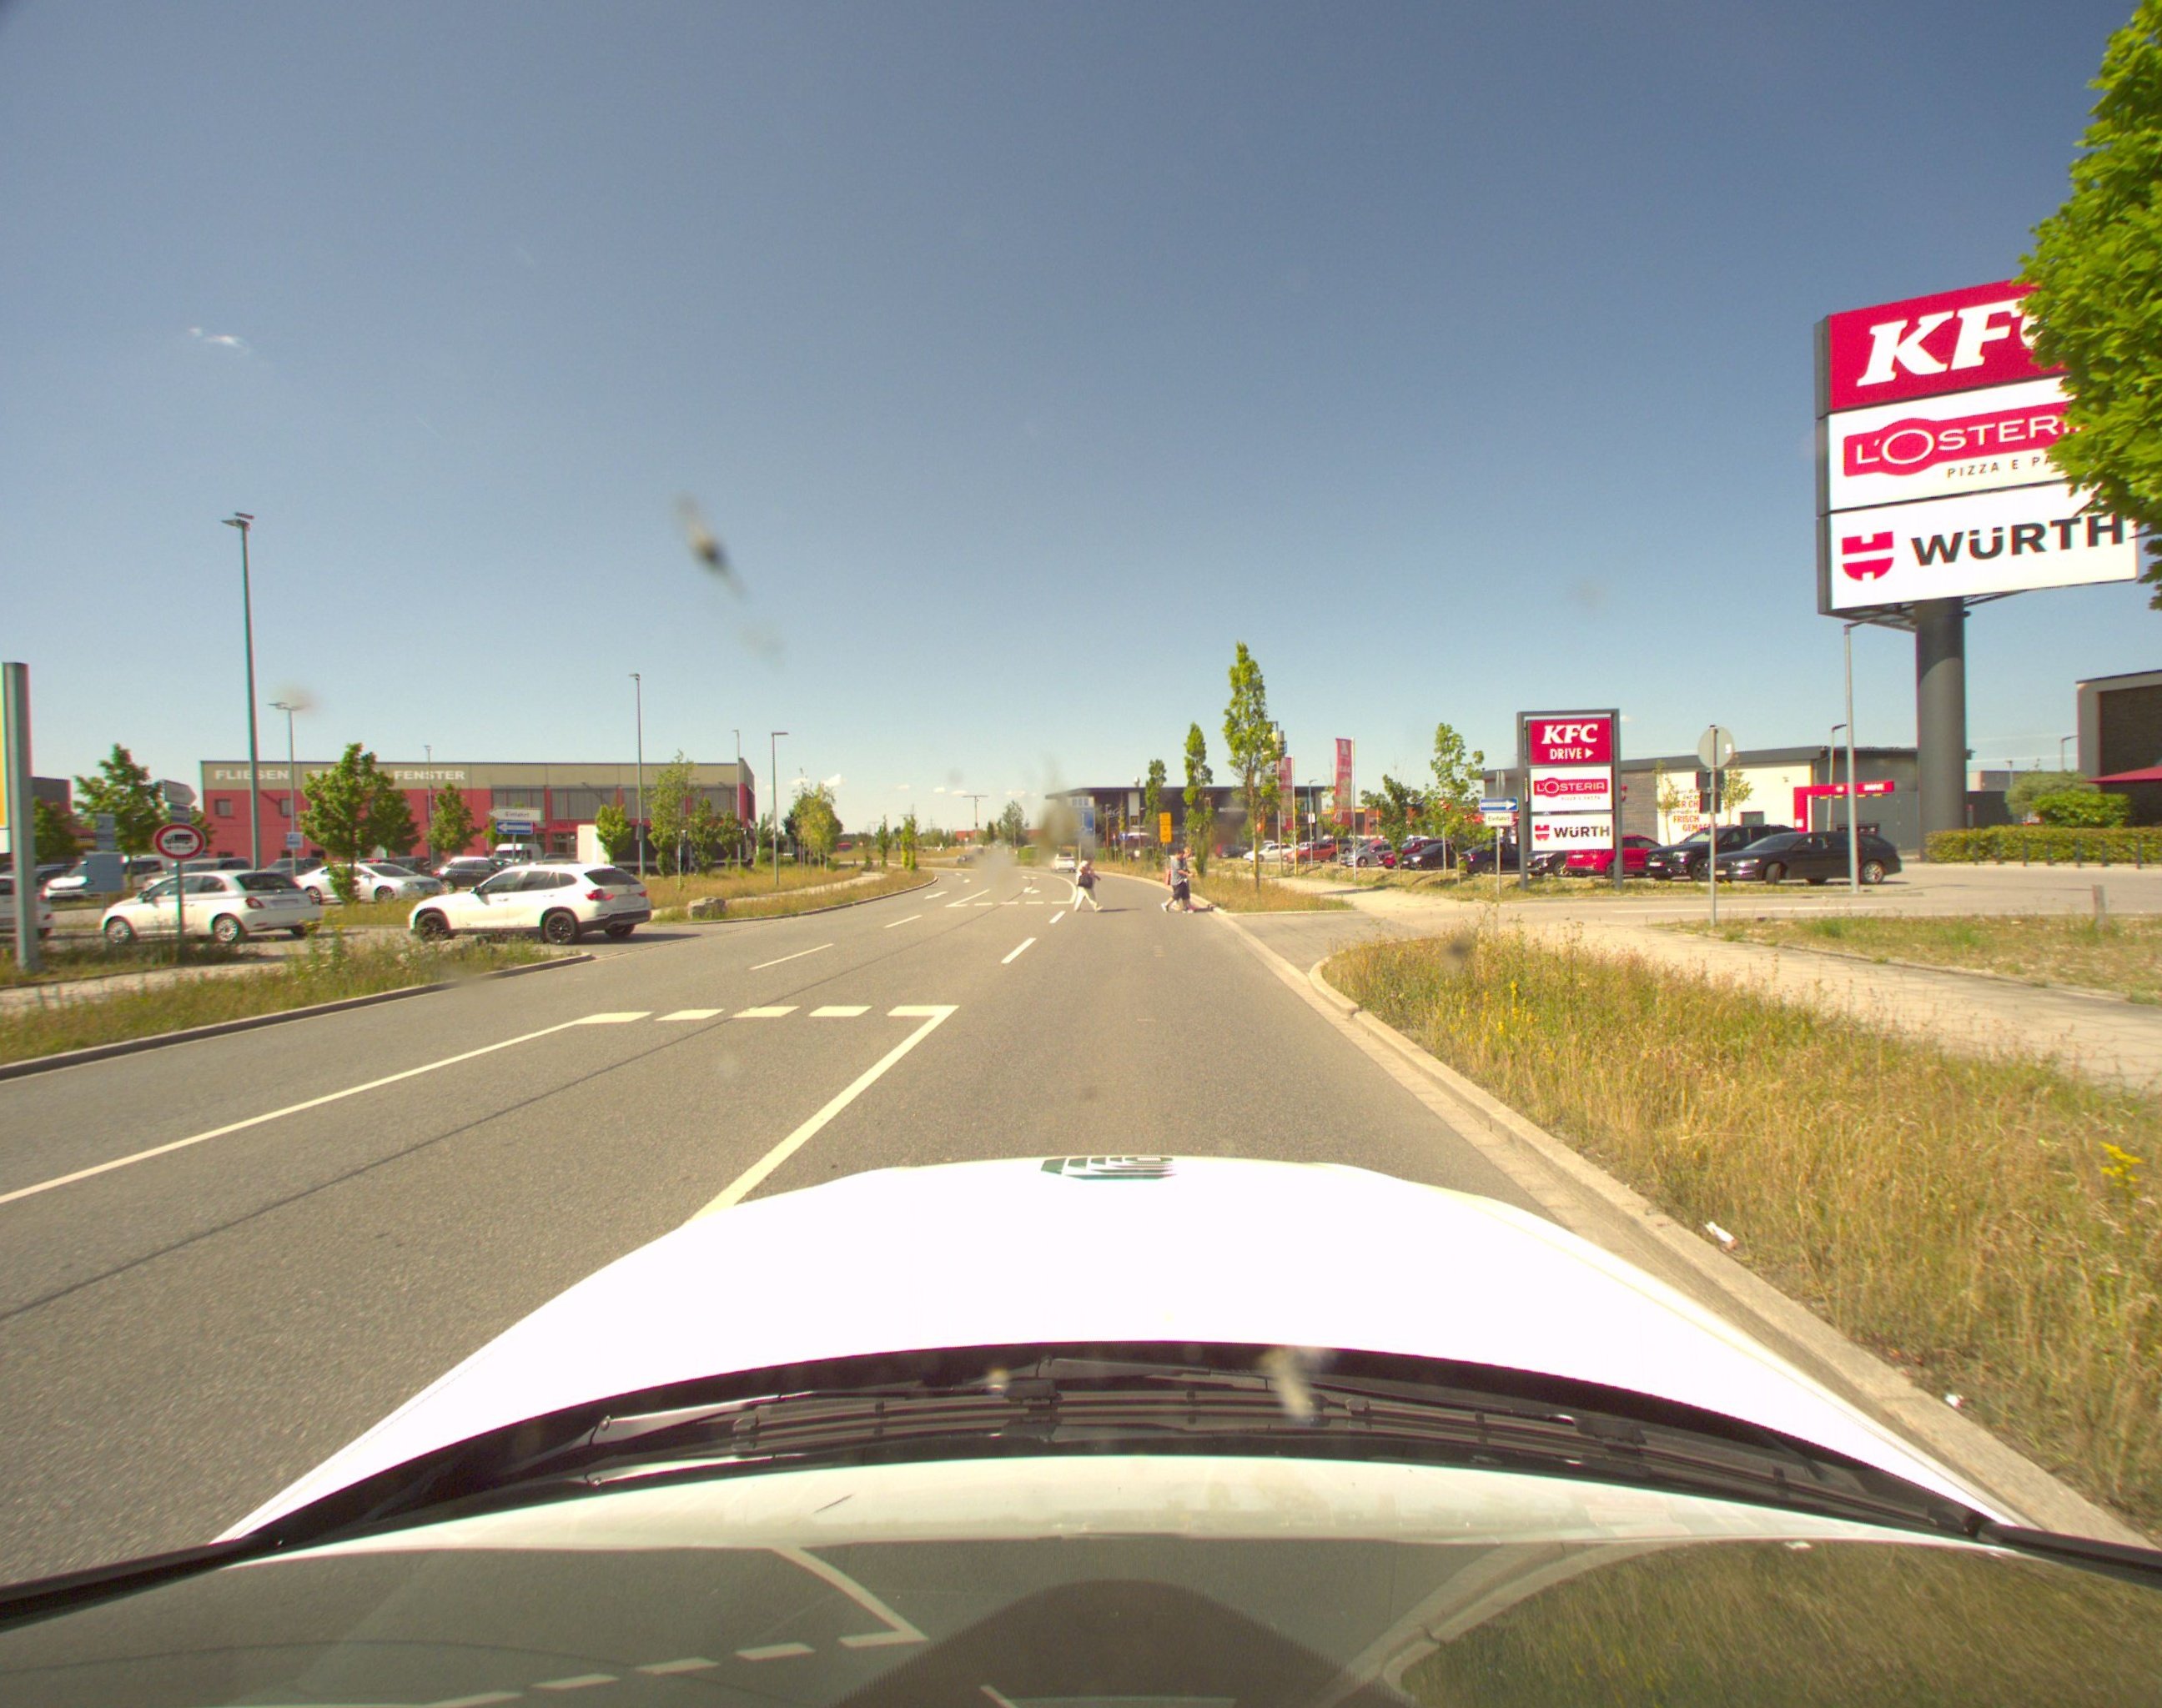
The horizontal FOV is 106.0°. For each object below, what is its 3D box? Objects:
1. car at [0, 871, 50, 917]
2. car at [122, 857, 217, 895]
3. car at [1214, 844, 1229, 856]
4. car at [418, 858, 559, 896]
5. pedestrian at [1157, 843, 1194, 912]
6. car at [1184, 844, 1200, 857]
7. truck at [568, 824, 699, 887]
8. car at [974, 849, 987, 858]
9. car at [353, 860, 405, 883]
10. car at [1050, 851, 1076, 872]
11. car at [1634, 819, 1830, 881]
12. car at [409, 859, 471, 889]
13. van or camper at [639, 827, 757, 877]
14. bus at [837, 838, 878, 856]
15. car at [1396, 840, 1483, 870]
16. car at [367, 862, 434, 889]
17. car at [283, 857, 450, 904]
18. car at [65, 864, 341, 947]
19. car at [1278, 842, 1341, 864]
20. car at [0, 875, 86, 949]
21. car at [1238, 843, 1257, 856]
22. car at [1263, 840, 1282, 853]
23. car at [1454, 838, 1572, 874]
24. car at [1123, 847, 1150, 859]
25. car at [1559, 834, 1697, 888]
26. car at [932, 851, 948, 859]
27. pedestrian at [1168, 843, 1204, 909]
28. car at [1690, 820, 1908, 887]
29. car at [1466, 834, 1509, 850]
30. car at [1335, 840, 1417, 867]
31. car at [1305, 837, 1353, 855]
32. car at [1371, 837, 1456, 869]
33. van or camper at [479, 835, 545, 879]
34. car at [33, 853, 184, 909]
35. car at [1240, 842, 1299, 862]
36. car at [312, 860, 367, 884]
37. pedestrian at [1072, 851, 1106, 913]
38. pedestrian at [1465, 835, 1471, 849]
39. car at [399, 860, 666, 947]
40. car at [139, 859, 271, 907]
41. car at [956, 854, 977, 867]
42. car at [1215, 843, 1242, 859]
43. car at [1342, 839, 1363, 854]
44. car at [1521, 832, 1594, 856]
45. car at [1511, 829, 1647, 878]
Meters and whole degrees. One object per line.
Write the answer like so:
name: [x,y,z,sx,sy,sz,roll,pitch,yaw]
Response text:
car: [-37.419,1.392,27.020,1.837,1.512,4.355,-2,0,-18]
car: [-52.559,1.219,47.090,1.839,1.994,4.351,-2,0,-21]
car: [18.116,-0.507,104.692,1.781,1.434,4.012,-2,0,11]
car: [-25.443,0.959,35.083,4.568,1.458,1.835,-2,0,-5]
pedestrian: [2.283,0.549,19.750,0.806,1.628,0.866,-1,0,1]
car: [14.193,-0.485,103.999,1.781,1.604,4.012,-2,0,11]
truck: [-26.640,0.067,48.989,2.300,3.464,7.523,-1,0,14]
car: [-18.032,-0.085,145.830,1.993,1.440,3.987,-2,1,-9]
car: [-52.353,1.258,60.825,1.667,1.614,4.054,-2,0,-22]
car: [-1.343,0.539,59.821,1.614,1.434,3.784,-2,0,-6]
car: [21.081,-0.151,26.481,4.972,1.734,1.937,-3,1,-4]
car: [-40.553,1.240,51.629,1.839,1.773,4.351,-2,0,-21]
van or camper: [-28.979,-0.180,61.967,7.705,3.468,2.543,-2,0,-15]
bus: [-45.800,-1.521,167.351,2.769,3.078,12.244,-2,2,11]
car: [19.770,0.041,44.959,4.156,1.449,1.784,-3,1,-12]
car: [-42.503,1.298,51.002,1.839,1.562,4.351,-2,0,-21]
car: [-25.895,0.948,29.592,4.583,1.512,1.841,-2,0,5]
car: [-18.640,1.060,17.414,3.968,1.547,1.920,-2,0,5]
car: [17.381,-0.111,61.909,4.209,1.490,1.860,-2,1,-13]
car: [-25.128,1.323,18.074,3.967,1.547,1.921,-2,0,6]
car: [21.635,-0.627,105.656,1.777,1.513,4.021,-2,0,20]
car: [25.267,-0.993,107.282,1.777,1.701,4.021,-2,0,21]
car: [19.630,0.087,37.172,4.380,1.449,1.796,-2,1,9]
car: [6.694,-0.110,98.703,1.799,1.434,3.973,-2,0,-20]
car: [20.046,0.229,29.865,4.416,1.734,1.781,-3,1,-17]
car: [-27.550,0.247,159.177,2.003,1.464,3.967,-2,1,-25]
pedestrian: [2.636,0.536,20.435,0.798,1.629,0.805,-1,0,1]
car: [19.622,-0.031,22.381,4.398,1.566,1.992,-3,1,-4]
car: [43.472,-1.306,87.099,4.116,1.522,1.802,-2,0,27]
car: [18.814,-0.055,52.039,4.554,1.490,1.863,-3,1,-10]
car: [23.843,-0.772,78.295,4.171,1.635,1.779,-2,0,-21]
car: [19.359,-0.092,47.478,4.148,1.665,1.865,-3,1,-6]
van or camper: [-45.296,0.247,65.050,2.438,3.271,7.187,-2,0,-20]
car: [-39.070,1.032,32.905,1.837,2.064,4.355,-2,0,-18]
car: [16.016,-0.171,69.278,4.531,1.490,1.860,-2,1,-13]
car: [-54.913,1.292,60.386,1.667,1.614,4.054,-2,0,-22]
pedestrian: [0.205,0.676,20.190,0.790,1.470,0.949,-1,0,1]
pedestrian: [34.503,-1.100,72.579,0.381,1.240,0.290,-2,0,-22]
car: [-11.050,0.971,16.583,4.190,1.547,1.921,-2,0,6]
car: [-36.482,1.141,34.081,1.837,1.823,4.355,-2,0,-18]
car: [-13.529,0.727,96.257,1.623,1.434,3.765,-2,0,-22]
car: [14.481,-0.281,79.703,1.682,1.462,4.192,-2,0,23]
car: [28.284,-0.822,84.748,1.770,1.451,4.192,-2,0,23]
car: [32.787,-0.661,56.038,4.571,1.431,1.856,-3,1,-21]
car: [19.851,-0.031,32.576,4.394,1.734,1.790,-2,1,-2]
